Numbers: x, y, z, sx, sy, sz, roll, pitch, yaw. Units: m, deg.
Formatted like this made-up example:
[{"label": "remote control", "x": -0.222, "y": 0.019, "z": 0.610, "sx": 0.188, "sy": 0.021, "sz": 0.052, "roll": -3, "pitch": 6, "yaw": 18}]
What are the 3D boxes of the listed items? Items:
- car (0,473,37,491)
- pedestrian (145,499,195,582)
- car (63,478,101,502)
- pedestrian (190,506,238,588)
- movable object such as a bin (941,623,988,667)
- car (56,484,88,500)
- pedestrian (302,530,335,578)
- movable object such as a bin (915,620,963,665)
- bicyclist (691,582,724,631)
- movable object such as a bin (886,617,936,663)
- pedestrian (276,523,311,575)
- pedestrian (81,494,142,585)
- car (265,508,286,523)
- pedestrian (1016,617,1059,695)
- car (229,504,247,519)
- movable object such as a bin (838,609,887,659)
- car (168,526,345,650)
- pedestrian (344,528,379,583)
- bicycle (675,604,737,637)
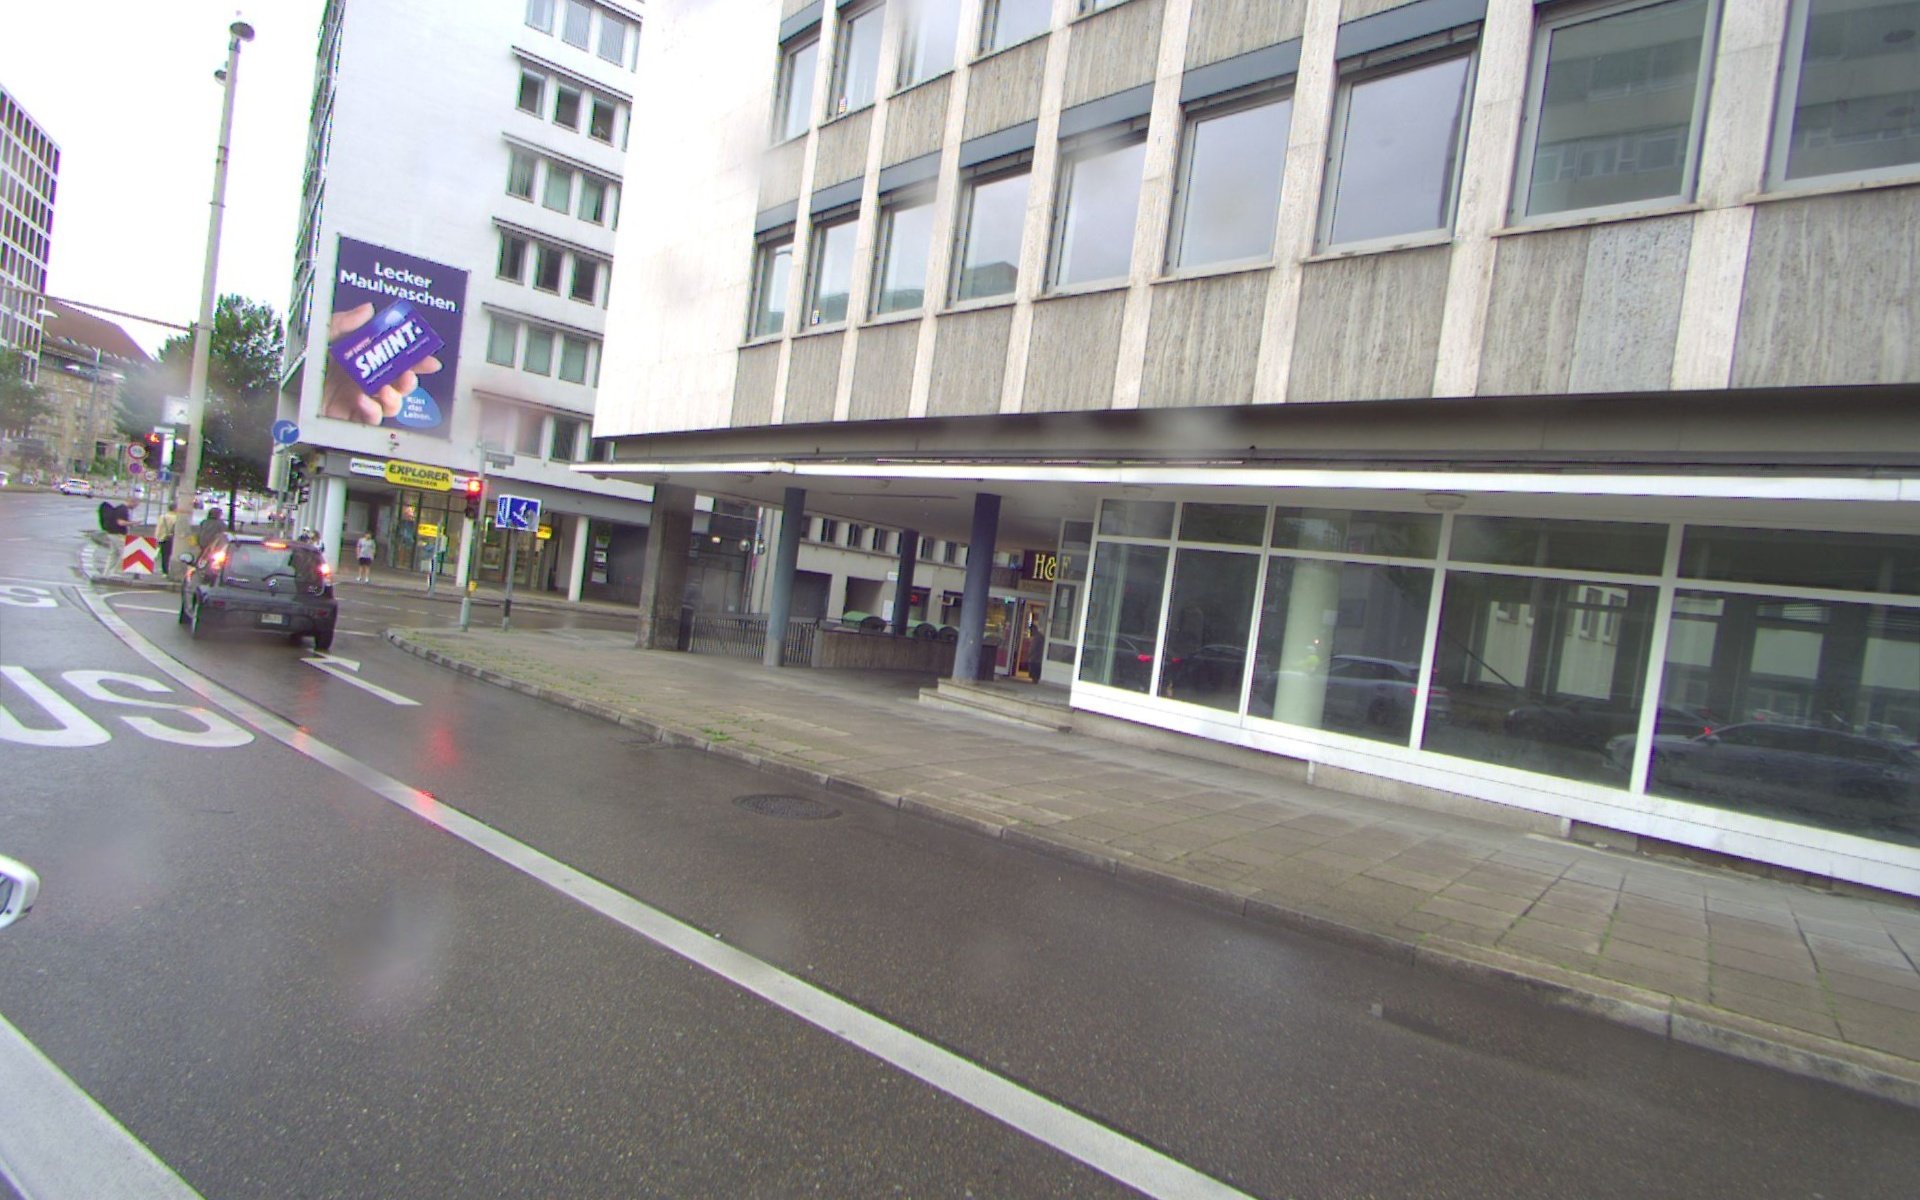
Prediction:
[{"label": "car", "x": -103.741, "y": -12.982, "z": 110.888, "sx": 1.979, "sy": 1.506, "sz": 3.968, "roll": 8, "pitch": 0, "yaw": -30}, {"label": "pedestrian", "x": -18.444, "y": -1.388, "z": 23.493, "sx": 0.745, "sy": 1.820, "sz": 0.808, "roll": 7, "pitch": 1, "yaw": -38}, {"label": "car", "x": -75.917, "y": -9.500, "z": 87.047, "sx": 1.877, "sy": 1.662, "sz": 3.962, "roll": 8, "pitch": -1, "yaw": -35}, {"label": "pedestrian", "x": -17.775, "y": -1.259, "z": 23.966, "sx": 0.745, "sy": 1.820, "sz": 0.808, "roll": 7, "pitch": 1, "yaw": -38}, {"label": "movable object such as a bin", "x": 0.157, "y": 1.629, "z": 36.634, "sx": 1.094, "sy": 1.399, "sz": 1.186, "roll": 7, "pitch": 1, "yaw": -37}, {"label": "car", "x": -105.290, "y": -12.797, "z": 119.322, "sx": 1.979, "sy": 1.506, "sz": 3.968, "roll": 8, "pitch": 0, "yaw": -30}, {"label": "pedestrian", "x": -22.174, "y": -1.590, "z": 34.783, "sx": 0.616, "sy": 1.561, "sz": 0.651, "roll": 8, "pitch": 0, "yaw": -15}, {"label": "movable object such as a bin", "x": -0.747, "y": 1.502, "z": 35.946, "sx": 1.094, "sy": 1.399, "sz": 1.186, "roll": 7, "pitch": 1, "yaw": -37}, {"label": "bicyclist", "x": -8.678, "y": 0.219, "z": 34.532, "sx": 0.764, "sy": 1.588, "sz": 0.527, "roll": 7, "pitch": 0, "yaw": -40}, {"label": "movable object such as a bin", "x": -1.718, "y": 1.401, "z": 35.199, "sx": 1.094, "sy": 1.399, "sz": 1.186, "roll": 7, "pitch": 1, "yaw": -37}, {"label": "pedestrian", "x": -22.905, "y": -1.739, "z": 34.584, "sx": 0.660, "sy": 1.675, "sz": 0.651, "roll": 8, "pitch": 0, "yaw": -15}, {"label": "pedestrian", "x": -17.558, "y": -1.246, "z": 20.818, "sx": 0.768, "sy": 1.752, "sz": 0.589, "roll": 7, "pitch": 0, "yaw": -44}, {"label": "car", "x": -91.670, "y": -11.275, "z": 134.789, "sx": 1.680, "sy": 1.503, "sz": 3.973, "roll": 8, "pitch": -2, "yaw": -28}, {"label": "pedestrian", "x": 1.933, "y": 1.391, "z": 25.094, "sx": 0.698, "sy": 1.825, "sz": 0.799, "roll": 8, "pitch": 0, "yaw": -7}, {"label": "car", "x": -124.516, "y": -15.260, "z": 173.457, "sx": 1.980, "sy": 2.037, "sz": 3.968, "roll": 8, "pitch": -1, "yaw": -31}, {"label": "movable object such as a bin", "x": -3.252, "y": 1.127, "z": 33.497, "sx": 0.961, "sy": 1.447, "sz": 1.268, "roll": 7, "pitch": 1, "yaw": -36}, {"label": "car", "x": -10.457, "y": -0.237, "z": 14.837, "sx": 1.566, "sy": 1.446, "sz": 3.953, "roll": 9, "pitch": -2, "yaw": -42}, {"label": "pedestrian", "x": -20.987, "y": -1.543, "z": 35.287, "sx": 0.660, "sy": 1.815, "sz": 0.771, "roll": 7, "pitch": 0, "yaw": -15}, {"label": "bicycle", "x": -8.707, "y": 0.701, "z": 34.584, "sx": 2.018, "sy": 0.899, "sz": 0.398, "roll": 9, "pitch": -1, "yaw": -41}]
